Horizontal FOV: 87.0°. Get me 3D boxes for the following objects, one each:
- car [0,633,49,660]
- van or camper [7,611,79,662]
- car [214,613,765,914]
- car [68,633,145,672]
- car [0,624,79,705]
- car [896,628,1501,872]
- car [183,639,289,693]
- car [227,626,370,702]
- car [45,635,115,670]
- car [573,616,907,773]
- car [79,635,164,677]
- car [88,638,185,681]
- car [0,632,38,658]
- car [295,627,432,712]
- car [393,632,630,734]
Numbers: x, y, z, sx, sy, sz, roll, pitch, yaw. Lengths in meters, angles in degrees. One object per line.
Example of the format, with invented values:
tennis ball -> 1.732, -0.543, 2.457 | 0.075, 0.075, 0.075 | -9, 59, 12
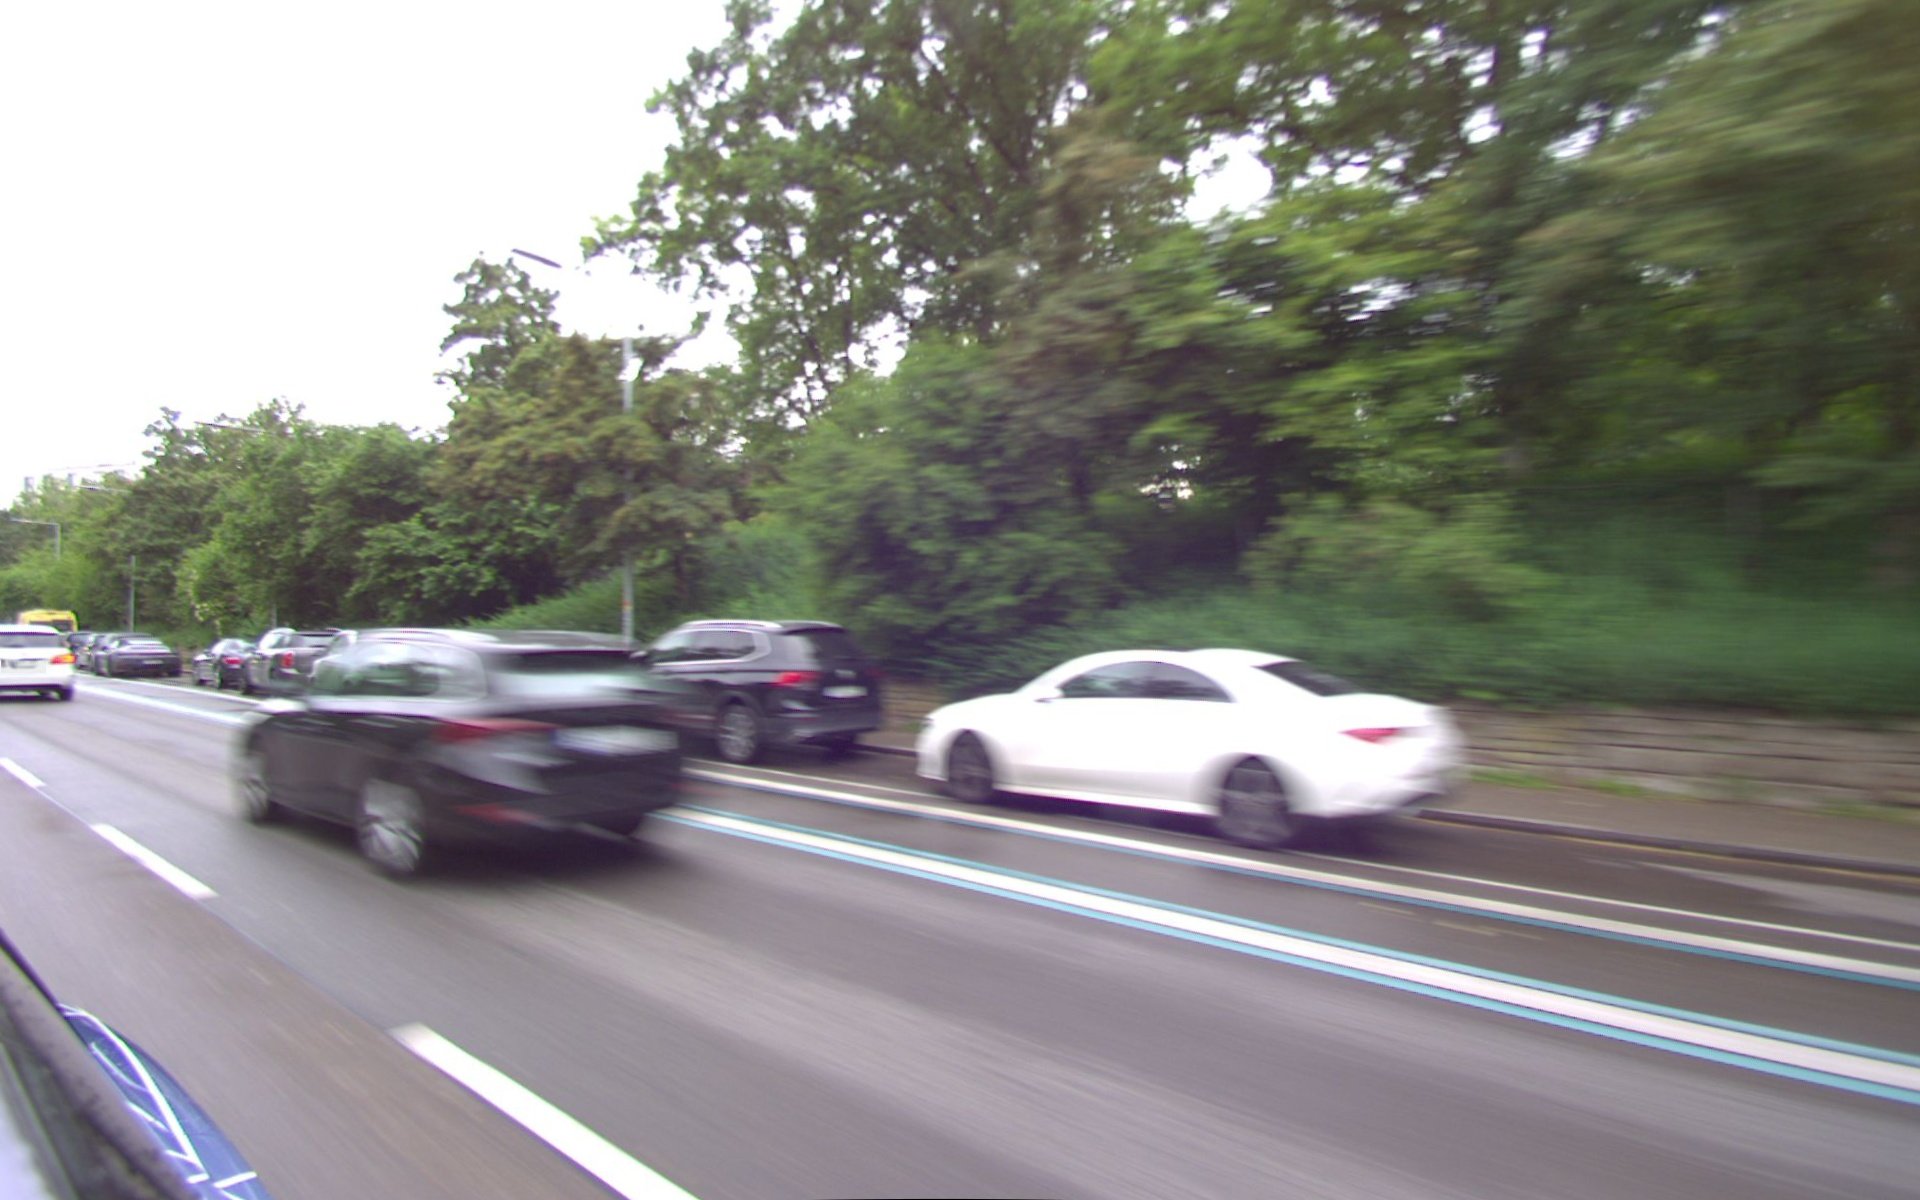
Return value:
car -> -51.371, 2.529, 55.408 | 3.557, 1.446, 1.802 | -2, -2, 41
van or camper -> -46.142, 1.827, 50.913 | 4.434, 2.470, 2.138 | -2, -2, 41
car -> -3.505, 0.873, 7.102 | 4.493, 1.469, 1.746 | -1, -4, 40
car -> -34.188, 2.078, 40.523 | 3.771, 1.446, 1.802 | -2, -2, 41
car -> -20.271, 1.324, 21.446 | 4.255, 1.592, 1.767 | -2, -3, 40
car -> 1.773, 1.013, 8.639 | 4.750, 1.509, 1.788 | -1, -2, 41
car -> -19.232, 1.704, 26.831 | 3.595, 1.303, 1.494 | -2, -2, 41
car -> -15.323, 1.429, 23.375 | 3.991, 1.600, 1.795 | -2, -3, 42
car -> -38.489, 2.268, 44.252 | 3.557, 1.490, 1.802 | -2, -3, 41
car -> -2.960, 1.083, 12.985 | 4.669, 1.673, 1.718 | -2, -3, 40
car -> -30.668, 2.003, 36.969 | 3.771, 1.446, 1.802 | -2, -2, 41
car -> -27.274, 1.938, 33.495 | 4.204, 1.303, 1.802 | -2, -2, 41
car -> -54.563, 2.586, 58.226 | 3.557, 1.446, 1.802 | -2, -2, 41
car -> -12.076, 1.361, 20.464 | 2.858, 1.606, 1.508 | -2, -3, 40
car -> -7.673, 1.301, 17.118 | 4.550, 1.486, 1.877 | -2, -2, 40
